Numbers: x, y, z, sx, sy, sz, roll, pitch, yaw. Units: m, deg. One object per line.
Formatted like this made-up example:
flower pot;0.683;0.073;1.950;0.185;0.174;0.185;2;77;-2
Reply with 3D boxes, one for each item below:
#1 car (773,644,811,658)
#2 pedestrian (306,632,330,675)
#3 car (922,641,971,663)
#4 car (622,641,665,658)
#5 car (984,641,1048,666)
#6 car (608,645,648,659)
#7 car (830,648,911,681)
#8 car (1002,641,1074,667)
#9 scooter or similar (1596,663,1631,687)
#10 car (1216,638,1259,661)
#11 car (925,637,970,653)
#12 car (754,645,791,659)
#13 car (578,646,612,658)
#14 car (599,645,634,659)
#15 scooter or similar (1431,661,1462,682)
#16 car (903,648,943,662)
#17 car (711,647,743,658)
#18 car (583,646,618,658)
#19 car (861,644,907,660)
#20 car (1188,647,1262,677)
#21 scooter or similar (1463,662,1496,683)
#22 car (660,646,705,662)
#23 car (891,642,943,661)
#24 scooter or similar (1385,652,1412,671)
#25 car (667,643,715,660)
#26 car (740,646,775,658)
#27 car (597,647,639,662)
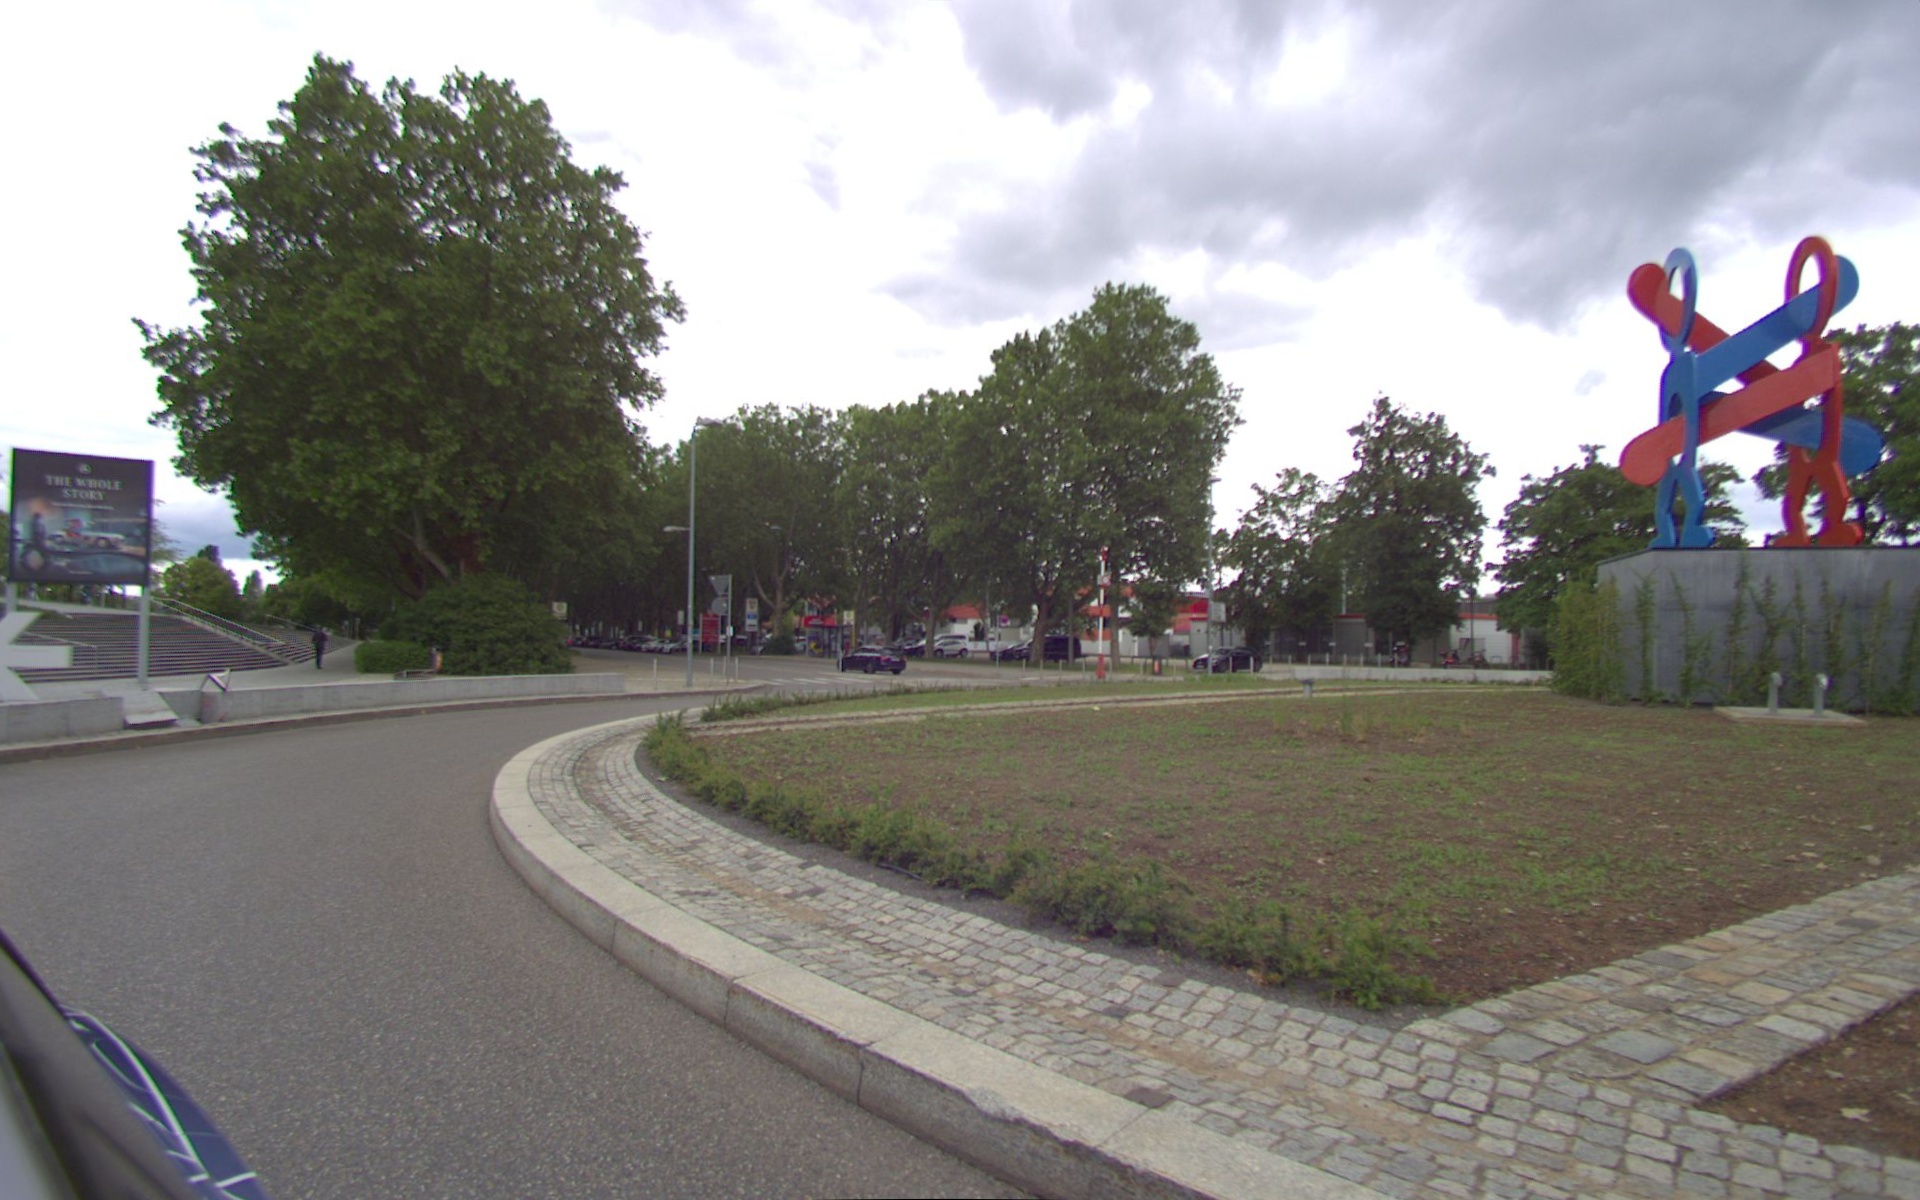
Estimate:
car;-18.802;5.746;113.266;3.938;1.530;1.878;1;-3;-21
pedestrian;-26.923;2.237;42.459;0.550;1.775;0.592;-1;-3;15
car;-1.141;4.309;83.976;3.647;1.791;1.676;1;-3;-23
car;-31.959;4.986;102.269;3.937;1.623;1.874;1;-3;-23
car;4.072;3.854;73.617;4.219;1.741;2.018;1;-3;-32
car;-36.406;5.691;110.927;3.937;1.530;1.878;1;-3;-23
car;-4.643;3.279;52.003;1.768;1.576;4.736;2;-4;-40
car;5.455;3.725;70.468;4.730;1.741;2.018;1;-3;-32
scooter or similar;31.520;3.598;48.832;1.942;1.118;0.642;1;-3;-33
car;20.422;3.647;74.716;1.770;1.664;4.438;0;-3;-2
car;-1.316;4.740;106.819;4.362;1.664;1.801;1;-3;-33
car;-22.182;6.140;119.654;3.938;1.530;1.878;1;-3;-21
car;-46.757;6.671;129.602;3.937;1.530;1.878;1;-3;-23
car;-41.333;6.252;121.732;3.937;1.530;1.878;1;-3;-23
scooter or similar;27.289;4.023;56.766;1.942;1.118;0.642;1;-3;-33
car;-3.993;5.936;109.213;3.939;1.530;1.877;1;-3;-31
car;-31.147;7.017;135.239;3.937;1.530;1.878;1;-3;-23
car;-45.226;6.551;127.330;3.937;1.530;1.878;1;-3;-23
car;-7.168;4.916;95.806;3.937;1.530;1.878;1;-3;-23
car;14.449;3.370;55.093;3.760;1.536;1.784;1;-3;-32
scooter or similar;28.171;3.931;54.864;1.942;1.118;0.642;1;-3;-33
car;-26.835;5.217;97.846;3.937;1.530;1.878;1;-3;-23
car;-3.640;4.372;85.683;3.937;1.530;1.878;1;-3;-23
scooter or similar;26.087;3.655;60.133;1.779;1.103;0.547;1;-3;-33
car;-25.435;4.887;95.650;4.104;1.530;1.878;1;-3;-23
car;-25.075;6.440;125.452;3.938;1.530;1.878;1;-3;-21
car;-38.690;6.174;114.492;4.360;1.664;1.802;1;-3;-28
